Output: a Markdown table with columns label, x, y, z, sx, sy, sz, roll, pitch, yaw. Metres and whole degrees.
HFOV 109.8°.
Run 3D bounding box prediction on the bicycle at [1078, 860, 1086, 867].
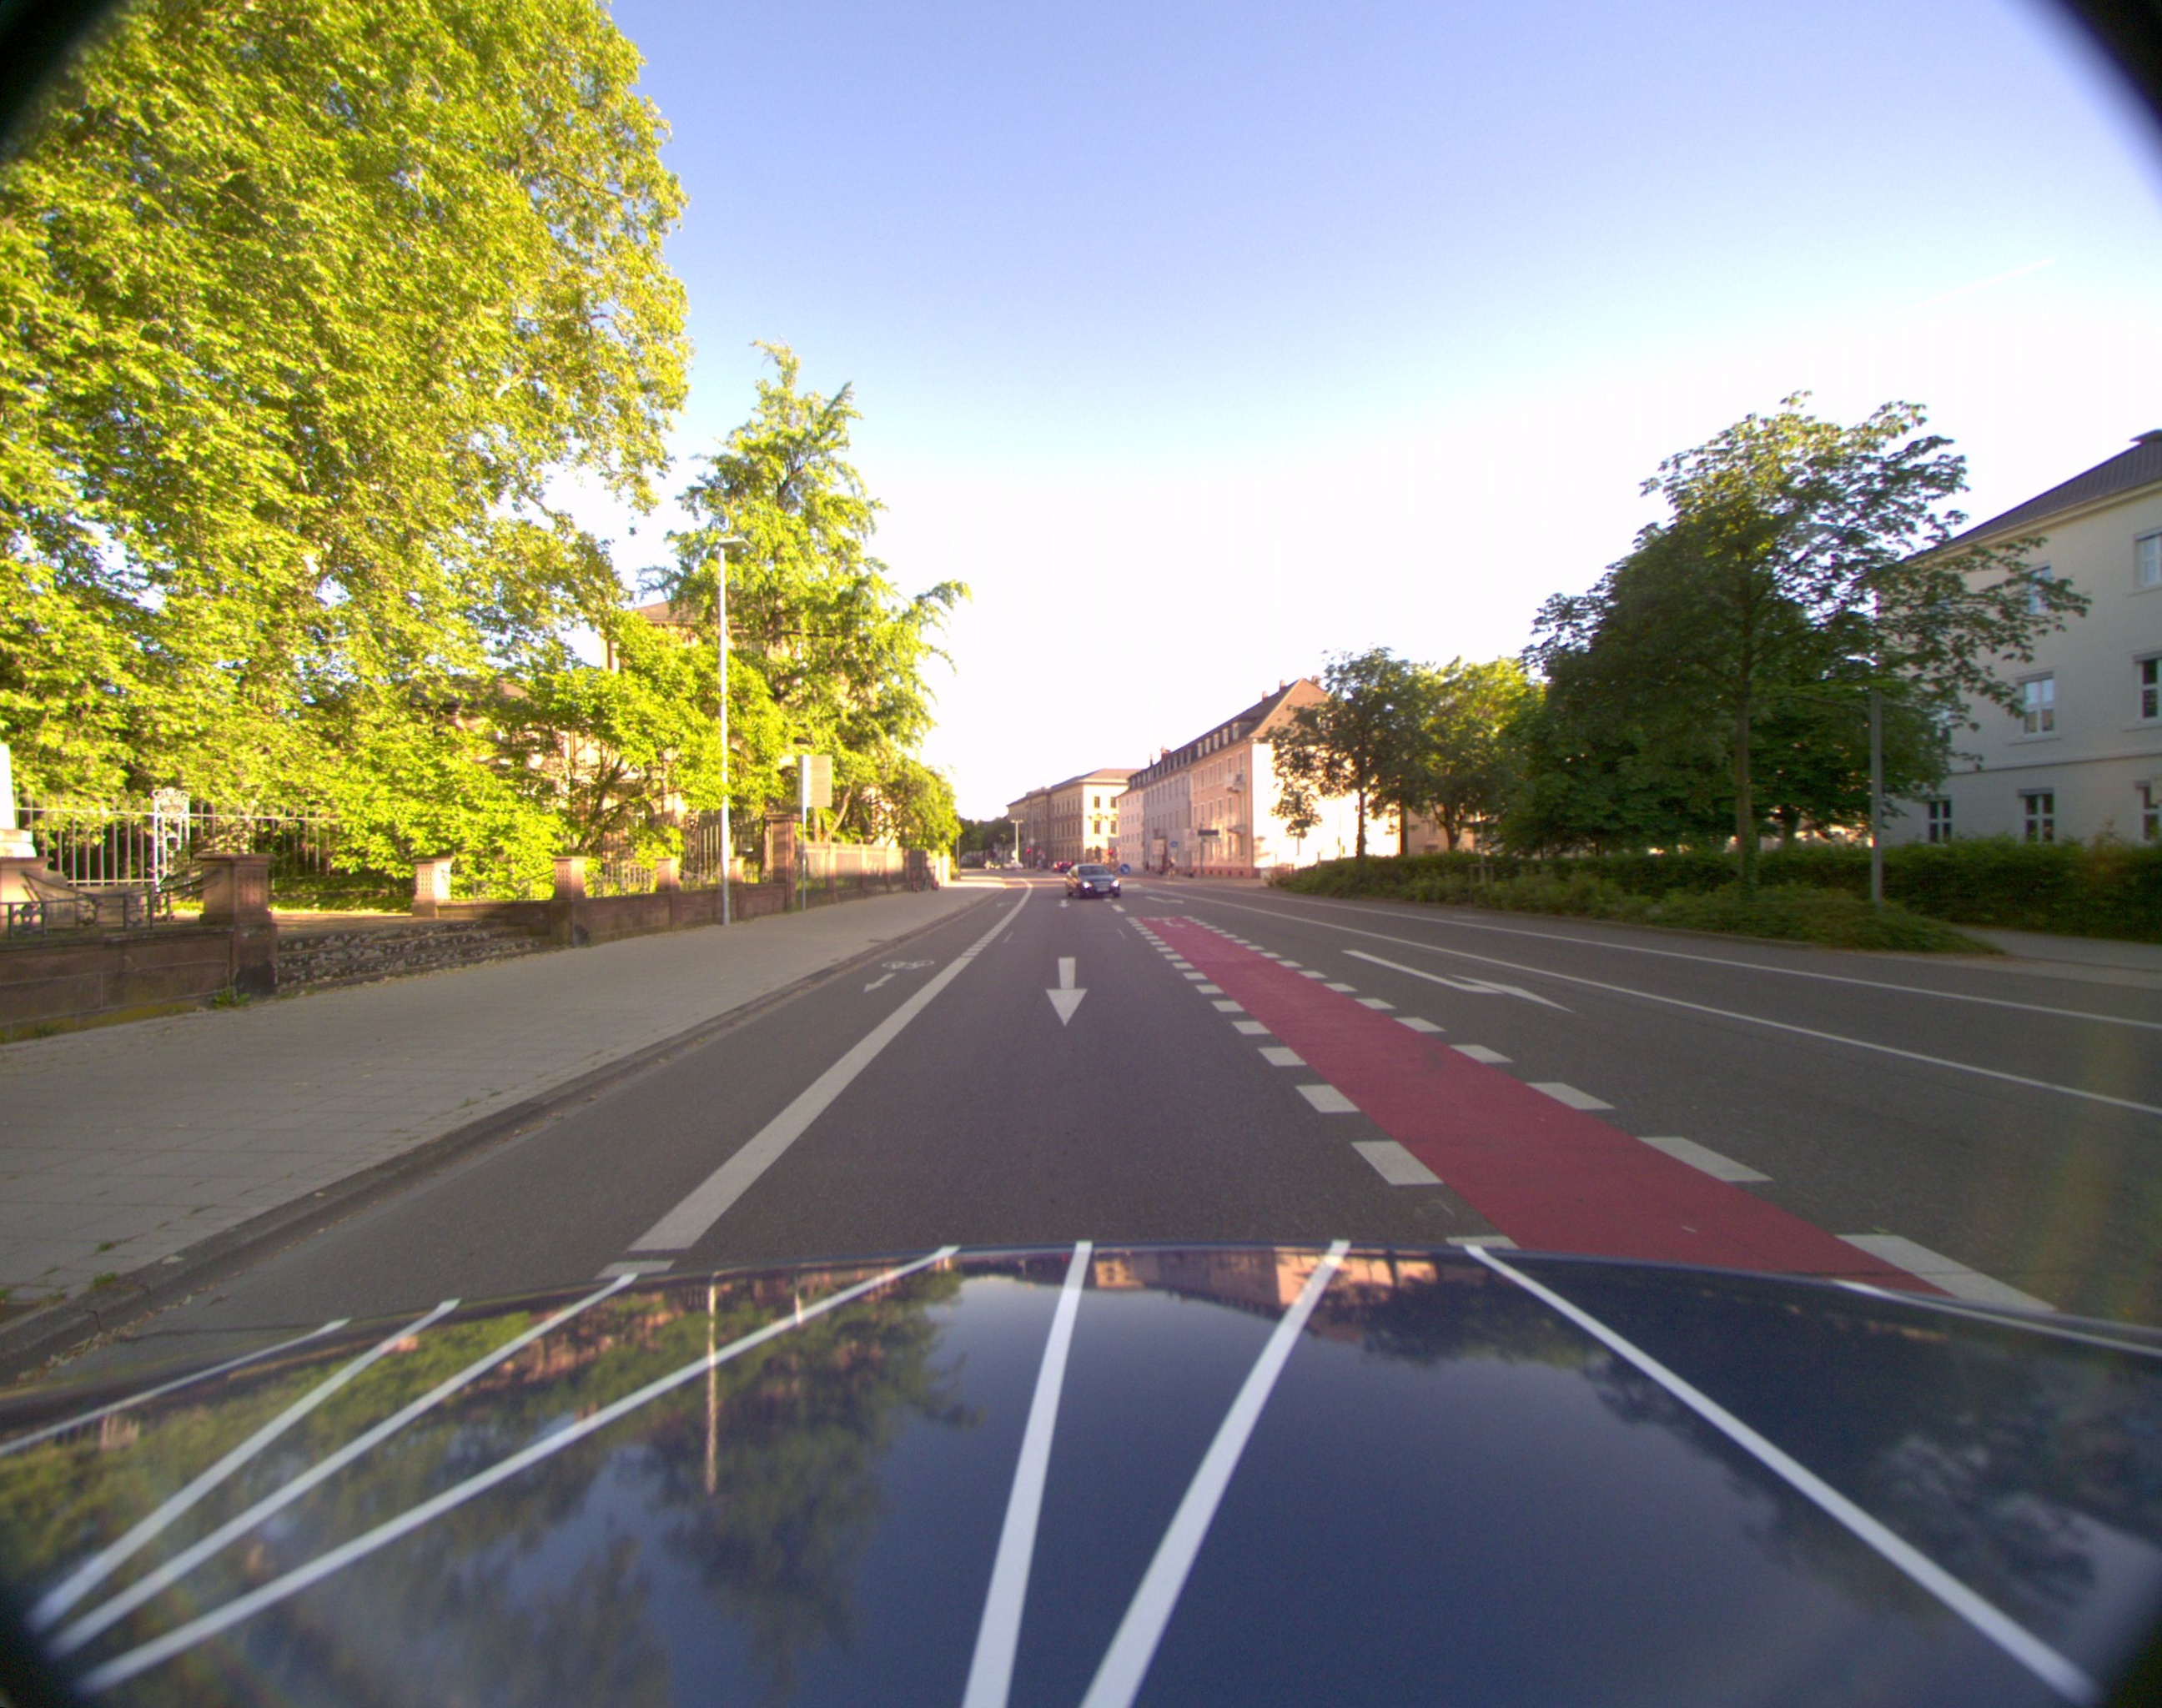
| label | x | y | z | sx | sy | sz | roll | pitch | yaw |
| --- | --- | --- | --- | --- | --- | --- | --- | --- | --- |
| bicycle | 0.124 | 1.314 | 104.537 | 0.663 | 0.907 | 2.861 | 0 | 0 | -9 |

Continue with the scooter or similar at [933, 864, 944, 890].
| label | x | y | z | sx | sy | sz | roll | pitch | yaw |
| --- | --- | --- | --- | --- | --- | --- | --- | --- | --- |
| scooter or similar | -7.092 | 1.135 | 37.779 | 0.517 | 1.233 | 1.521 | 0 | 0 | -11 |

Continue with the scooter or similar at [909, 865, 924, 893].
| label | x | y | z | sx | sy | sz | roll | pitch | yaw |
| --- | --- | --- | --- | --- | --- | --- | --- | --- | --- |
| scooter or similar | -7.552 | 1.130 | 34.845 | 0.577 | 1.246 | 1.486 | 0 | 0 | -15 |

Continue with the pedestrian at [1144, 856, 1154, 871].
| label | x | y | z | sx | sy | sz | roll | pitch | yaw |
| --- | --- | --- | --- | --- | --- | --- | --- | --- | --- |
| pedestrian | 8.553 | 1.177 | 95.510 | 0.949 | 1.894 | 1.062 | -2 | 1 | -7 |

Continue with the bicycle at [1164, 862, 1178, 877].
| label | x | y | z | sx | sy | sz | roll | pitch | yaw |
| --- | --- | --- | --- | --- | --- | --- | --- | --- | --- |
| bicycle | 7.219 | 1.233 | 61.110 | 0.697 | 1.152 | 2.245 | 1 | 0 | -3 |

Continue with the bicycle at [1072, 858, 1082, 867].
| label | x | y | z | sx | sy | sz | roll | pitch | yaw |
| --- | --- | --- | --- | --- | --- | --- | --- | --- | --- |
| bicycle | -0.562 | 1.221 | 109.100 | 0.956 | 1.216 | 2.777 | 0 | 0 | -9 |

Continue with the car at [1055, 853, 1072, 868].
| label | x | y | z | sx | sy | sz | roll | pitch | yaw |
| --- | --- | --- | --- | --- | --- | --- | --- | --- | --- |
| car | -2.360 | 0.878 | 102.090 | 1.999 | 2.002 | 3.998 | 0 | 0 | -5 |

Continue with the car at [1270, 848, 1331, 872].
| label | x | y | z | sx | sy | sz | roll | pitch | yaw |
| --- | --- | --- | --- | --- | --- | --- | --- | --- | --- |
| car | 16.611 | 0.434 | 57.566 | 4.000 | 1.652 | 1.998 | -2 | 1 | -9 |

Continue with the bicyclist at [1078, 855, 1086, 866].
| label | x | y | z | sx | sy | sz | roll | pitch | yaw |
| --- | --- | --- | --- | --- | --- | --- | --- | --- | --- |
| bicyclist | 0.120 | 0.870 | 104.566 | 1.026 | 1.481 | 0.870 | 0 | 0 | -9 |

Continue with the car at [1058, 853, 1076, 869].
| label | x | y | z | sx | sy | sz | roll | pitch | yaw |
| --- | --- | --- | --- | --- | --- | --- | --- | --- | --- |
| car | -1.800 | 0.896 | 96.119 | 1.999 | 2.002 | 3.998 | 0 | 0 | -5 |

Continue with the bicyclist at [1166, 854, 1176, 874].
| label | x | y | z | sx | sy | sz | roll | pitch | yaw |
| --- | --- | --- | --- | --- | --- | --- | --- | --- | --- |
| bicyclist | 7.230 | 0.778 | 60.972 | 0.691 | 1.553 | 0.838 | 1 | 0 | -3 |

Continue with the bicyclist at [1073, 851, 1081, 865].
| label | x | y | z | sx | sy | sz | roll | pitch | yaw |
| --- | --- | --- | --- | --- | --- | --- | --- | --- | --- |
| bicyclist | -0.528 | 0.605 | 108.910 | 0.956 | 2.002 | 1.307 | 0 | 0 | -9 |

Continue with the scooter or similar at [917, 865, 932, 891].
| label | x | y | z | sx | sy | sz | roll | pitch | yaw |
| --- | --- | --- | --- | --- | --- | --- | --- | --- | --- |
| scooter or similar | -7.565 | 1.145 | 36.697 | 0.576 | 1.177 | 1.487 | 0 | 0 | -7 |

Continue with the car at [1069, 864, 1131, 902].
| label | x | y | z | sx | sy | sz | roll | pitch | yaw |
| --- | --- | --- | --- | --- | --- | --- | --- | --- | --- |
| car | 0.709 | 1.132 | 31.342 | 1.711 | 1.397 | 4.260 | 0 | 0 | -10 |
